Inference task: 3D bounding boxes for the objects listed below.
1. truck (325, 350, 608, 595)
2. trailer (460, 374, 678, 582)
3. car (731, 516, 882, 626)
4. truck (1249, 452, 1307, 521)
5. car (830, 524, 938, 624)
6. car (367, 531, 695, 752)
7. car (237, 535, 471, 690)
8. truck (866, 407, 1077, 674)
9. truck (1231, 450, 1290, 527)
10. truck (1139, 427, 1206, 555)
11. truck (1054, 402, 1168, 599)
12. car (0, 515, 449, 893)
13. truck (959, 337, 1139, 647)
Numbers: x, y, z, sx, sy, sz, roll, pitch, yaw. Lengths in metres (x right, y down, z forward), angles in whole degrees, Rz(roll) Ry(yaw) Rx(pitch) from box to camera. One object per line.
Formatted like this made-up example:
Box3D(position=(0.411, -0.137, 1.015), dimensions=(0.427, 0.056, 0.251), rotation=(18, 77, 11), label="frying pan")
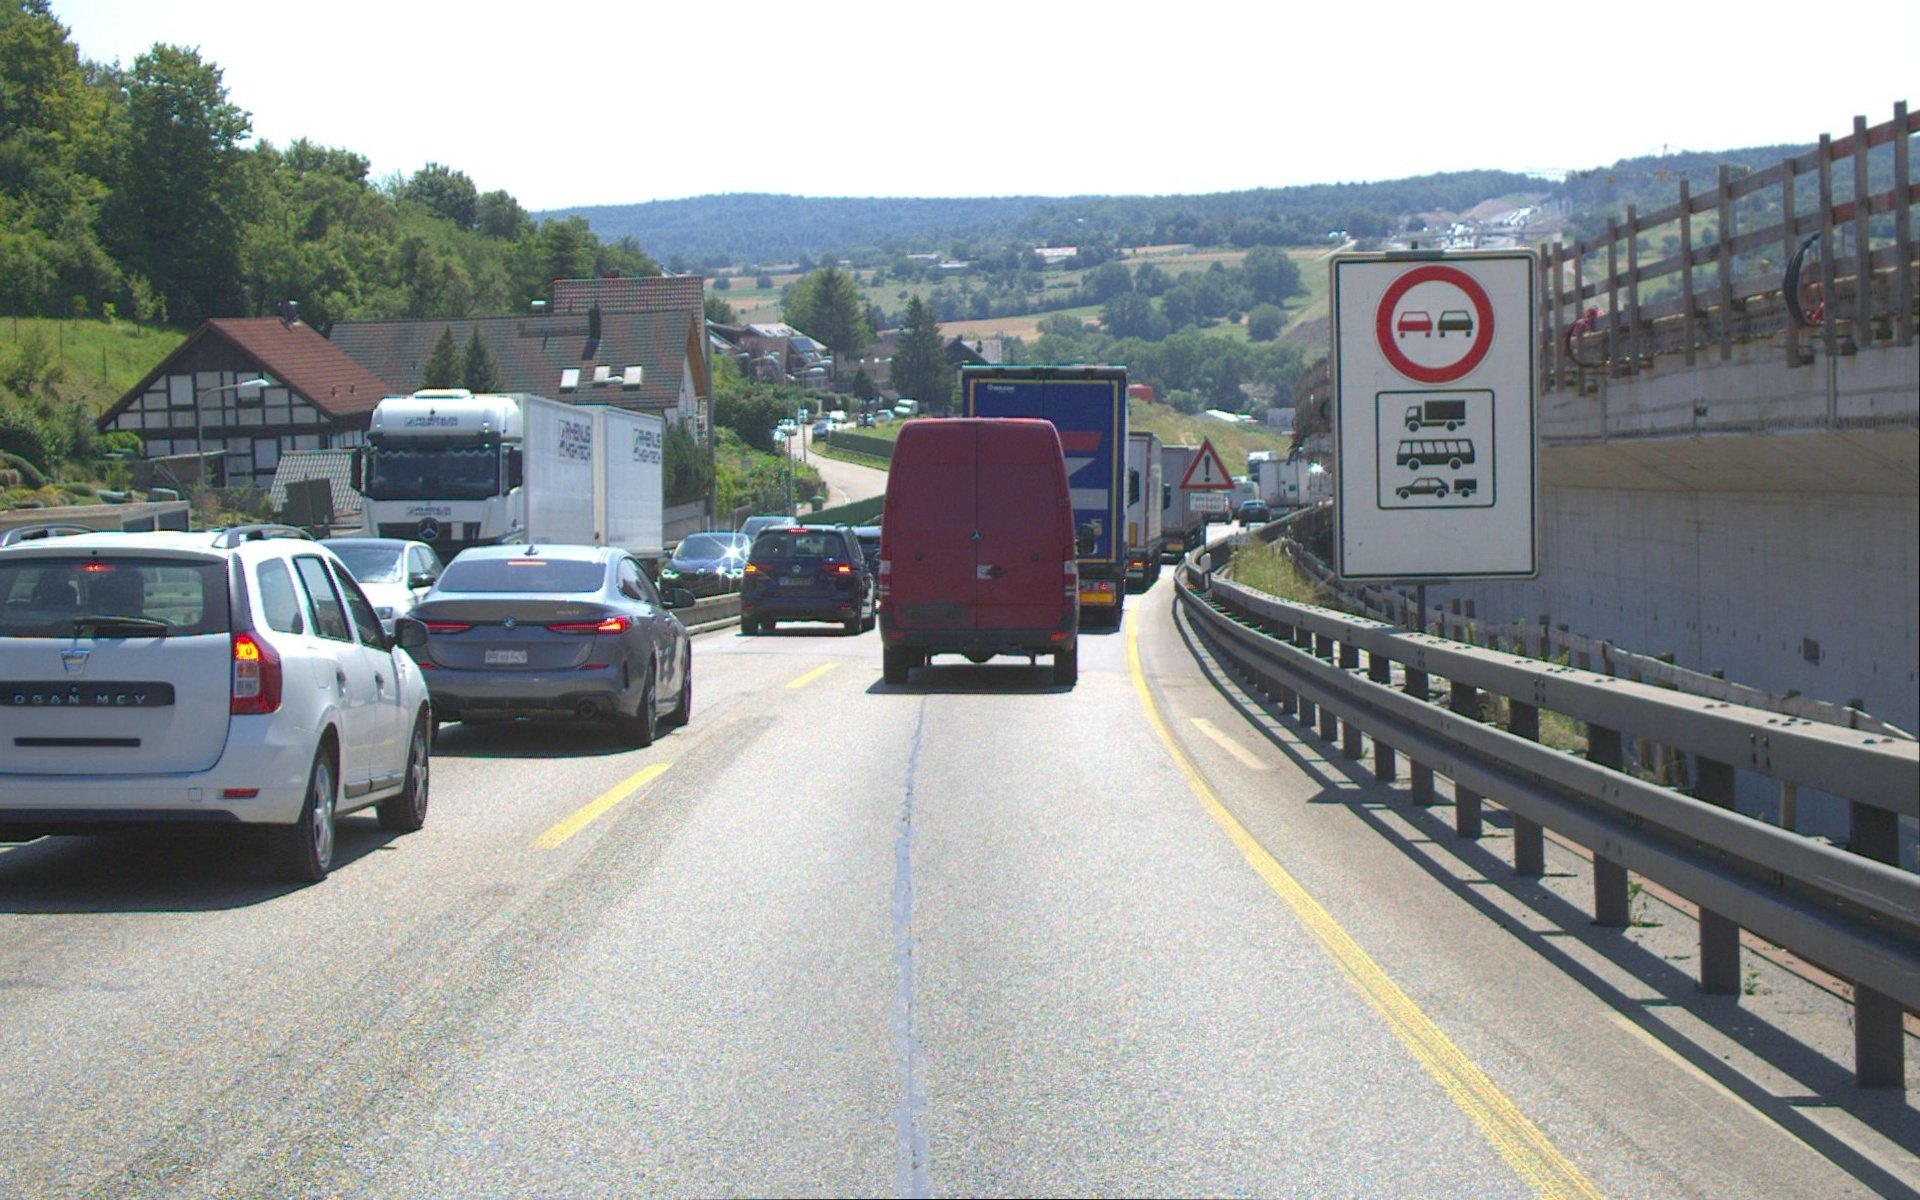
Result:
Box3D(position=(-8.913, -2.297, 63.586), dimensions=(2.978, 4.148, 10.544), rotation=(0, 1, 4), label="truck")
Box3D(position=(-8.197, -2.535, 73.325), dimensions=(3.004, 4.151, 9.016), rotation=(0, 1, 4), label="trailer")
Box3D(position=(-2.283, -0.424, 52.062), dimensions=(1.810, 1.602, 3.718), rotation=(0, 0, 5), label="car")
Box3D(position=(21.279, -7.536, 229.798), dimensions=(3.468, 4.366, 8.554), rotation=(0, 0, 8), label="truck")
Box3D(position=(-1.413, -0.489, 65.034), dimensions=(1.729, 1.832, 3.999), rotation=(0, 0, 3), label="car")
Box3D(position=(-3.049, 0.246, 25.200), dimensions=(1.795, 1.480, 4.049), rotation=(0, 1, 1), label="car")
Box3D(position=(-6.340, 0.088, 36.369), dimensions=(1.581, 1.516, 4.154), rotation=(0, 1, 2), label="car")
Box3D(position=(0.178, -0.578, 35.081), dimensions=(1.994, 2.570, 4.000), rotation=(0, 0, 3), label="truck")
Box3D(position=(18.278, -6.729, 208.935), dimensions=(3.070, 4.366, 8.554), rotation=(0, 0, 8), label="truck")
Box3D(position=(7.453, -3.766, 120.204), dimensions=(1.994, 4.366, 3.999), rotation=(0, 0, 8), label="truck")
Box3D(position=(3.944, -2.448, 88.942), dimensions=(2.786, 4.799, 9.684), rotation=(0, 0, 3), label="truck")
Box3D(position=(-3.552, 0.410, 15.957), dimensions=(1.651, 1.478, 4.266), rotation=(-2, 0, 0), label="car")
Box3D(position=(1.633, -1.689, 58.143), dimensions=(2.786, 4.799, 9.684), rotation=(0, 0, 3), label="truck")
